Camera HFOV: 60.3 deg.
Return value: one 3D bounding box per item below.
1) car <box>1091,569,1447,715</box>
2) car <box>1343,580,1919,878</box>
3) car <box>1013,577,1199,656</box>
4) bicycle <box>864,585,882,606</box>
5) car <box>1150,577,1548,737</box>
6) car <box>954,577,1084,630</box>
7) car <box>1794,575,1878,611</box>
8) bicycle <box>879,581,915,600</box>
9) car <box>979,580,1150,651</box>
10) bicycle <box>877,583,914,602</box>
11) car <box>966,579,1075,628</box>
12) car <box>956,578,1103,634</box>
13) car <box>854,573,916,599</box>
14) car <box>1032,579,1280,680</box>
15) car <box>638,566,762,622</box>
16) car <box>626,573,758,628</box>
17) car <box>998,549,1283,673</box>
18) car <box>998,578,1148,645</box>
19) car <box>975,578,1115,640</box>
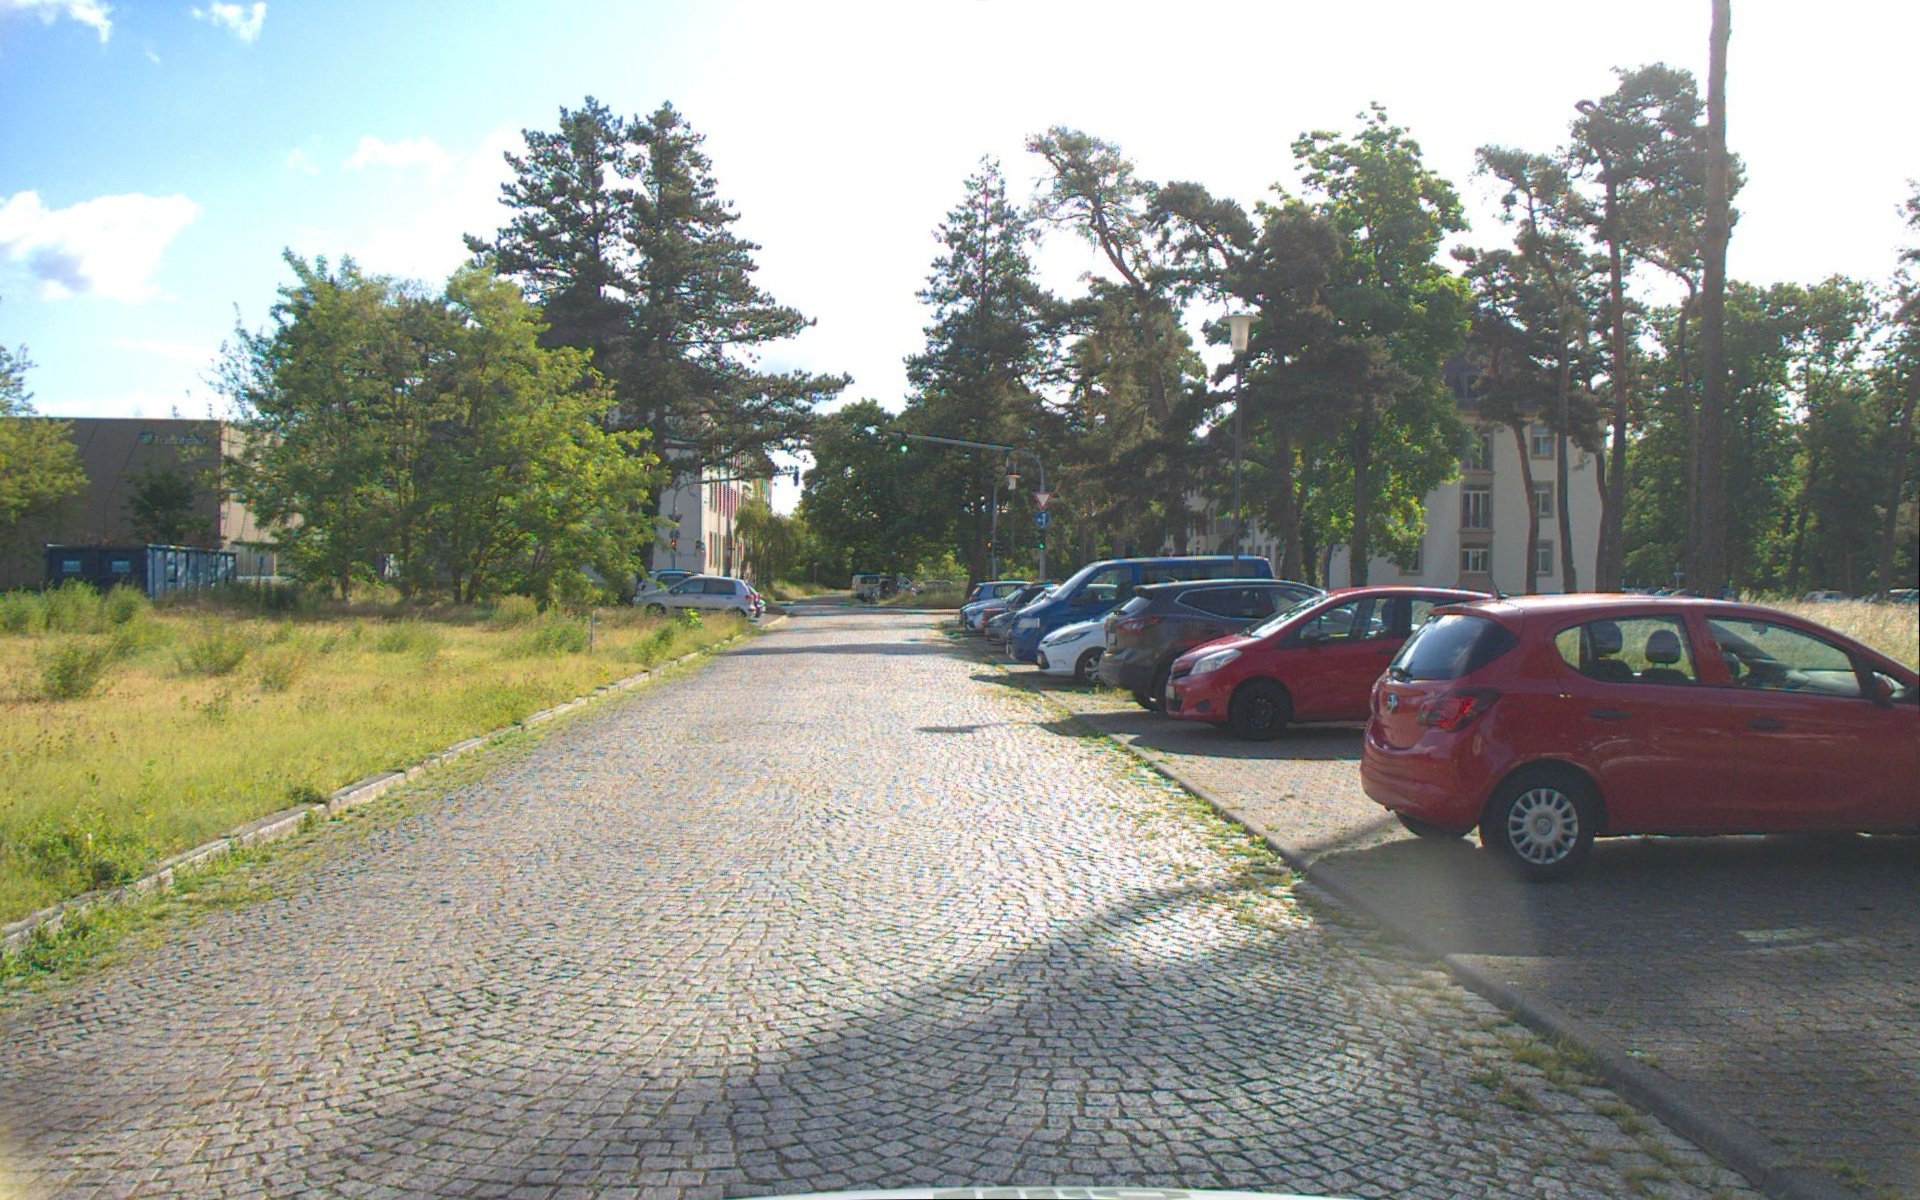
[{"bbox_3d":[3.619,0.470,19.786,3.859,1.650,1.770,0,1,-5],"label":"car"},{"bbox_3d":[4.293,0.655,9.524,3.752,1.504,1.644,0,1,-5],"label":"car"},{"bbox_3d":[2.964,0.317,34.039,3.620,1.491,1.645,-1,1,-3],"label":"car"},{"bbox_3d":[-5.105,-0.290,96.851,0.789,1.190,2.176,-2,1,-9],"label":"bicycle"},{"bbox_3d":[3.949,0.555,17.127,3.689,1.557,1.644,0,1,-5],"label":"car"},{"bbox_3d":[1.749,0.089,49.793,3.760,1.556,1.644,0,1,-5],"label":"car"},{"bbox_3d":[51.738,-0.419,97.746,3.908,2.049,1.999,0,1,-4],"label":"car"},{"bbox_3d":[-3.891,-0.583,102.255,2.135,1.119,0.804,1,0,-13],"label":"bicycle"},{"bbox_3d":[2.294,0.324,36.889,3.603,1.492,1.644,-1,1,-5],"label":"car"},{"bbox_3d":[-3.934,-0.482,101.143,2.135,1.119,0.804,1,0,-13],"label":"bicycle"},{"bbox_3d":[1.895,0.092,52.446,3.278,1.508,1.644,0,1,-5],"label":"car"},{"bbox_3d":[1.956,0.160,47.031,3.957,1.556,1.643,0,1,-7],"label":"car"},{"bbox_3d":[-5.412,-0.986,118.544,4.392,1.758,1.999,1,1,-4],"label":"car"},{"bbox_3d":[3.052,0.440,26.179,3.647,1.514,1.643,0,1,-6],"label":"car"},{"bbox_3d":[-8.808,-0.214,56.408,3.909,1.629,1.999,4,0,-4],"label":"car"},{"bbox_3d":[-8.229,0.004,51.049,3.910,1.628,1.998,0,1,-6],"label":"car"},{"bbox_3d":[3.075,0.180,28.773,4.587,2.049,2.081,0,1,-7],"label":"car"},{"bbox_3d":[2.685,0.259,39.836,3.410,1.556,1.644,0,1,-5],"label":"car"},{"bbox_3d":[2.159,0.219,42.498,3.410,1.556,1.644,0,1,-5],"label":"car"}]
